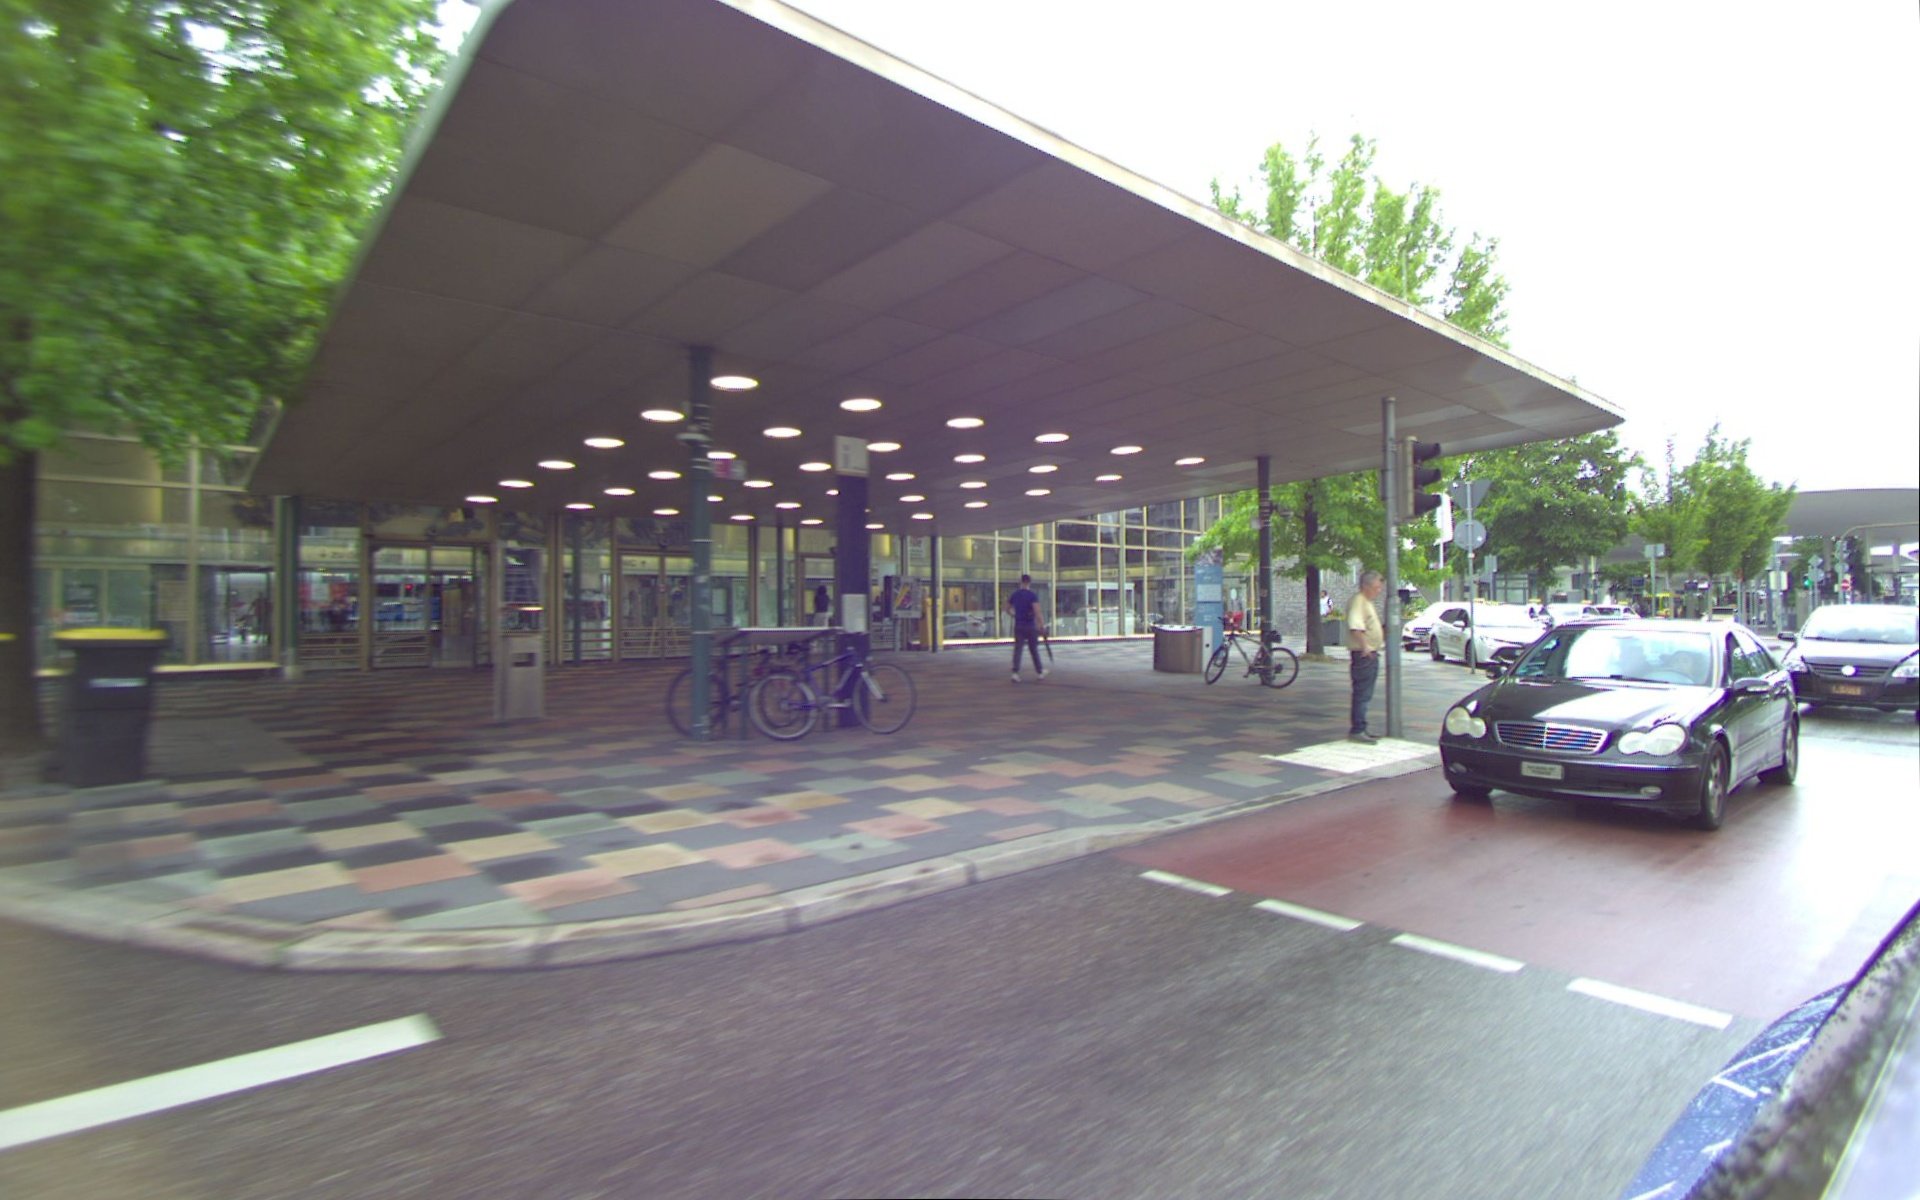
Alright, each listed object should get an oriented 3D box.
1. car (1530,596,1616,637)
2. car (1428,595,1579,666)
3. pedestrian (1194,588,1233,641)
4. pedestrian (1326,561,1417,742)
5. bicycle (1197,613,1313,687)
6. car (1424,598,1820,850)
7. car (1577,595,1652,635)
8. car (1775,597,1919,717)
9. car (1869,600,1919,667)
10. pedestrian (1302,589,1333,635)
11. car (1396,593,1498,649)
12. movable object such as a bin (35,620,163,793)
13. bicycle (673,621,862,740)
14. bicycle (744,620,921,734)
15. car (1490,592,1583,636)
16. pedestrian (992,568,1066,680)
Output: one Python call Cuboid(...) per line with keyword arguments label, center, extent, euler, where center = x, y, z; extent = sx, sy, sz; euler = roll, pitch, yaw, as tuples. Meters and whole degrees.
Cuboid(label="car", center=(24.324, 0.605, 40.104), extent=(4.390, 1.510, 1.817), euler=(0, 0, -43))
Cuboid(label="car", center=(12.756, 0.659, 24.075), extent=(1.790, 1.510, 4.150), euler=(0, 0, 7))
Cuboid(label="pedestrian", center=(7.504, 0.416, 29.968), extent=(0.837, 1.530, 0.762), euler=(0, 0, -40))
Cuboid(label="pedestrian", center=(4.213, 0.496, 10.362), extent=(0.686, 1.773, 0.561), euler=(0, 1, -35))
Cuboid(label="bicycle", center=(4.647, 0.770, 16.014), extent=(1.713, 1.059, 0.517), euler=(1, 1, 41))
Cuboid(label="car", center=(5.406, 0.741, 8.073), extent=(3.762, 1.493, 1.869), euler=(0, 0, -44))
Cuboid(label="car", center=(28.341, 0.615, 43.771), extent=(4.009, 1.610, 1.817), euler=(0, 0, -43))
Cuboid(label="car", center=(13.106, 0.708, 14.352), extent=(3.760, 1.493, 1.870), euler=(0, 0, -42))
Cuboid(label="car", center=(23.145, 0.755, 24.225), extent=(3.605, 1.505, 1.618), euler=(0, 0, -41))
Cuboid(label="pedestrian", center=(13.092, 0.417, 37.051), extent=(0.837, 1.669, 0.762), euler=(0, 0, -40))
Cuboid(label="car", center=(15.044, 0.590, 31.169), extent=(1.813, 1.575, 4.400), euler=(0, 0, 40))
Cuboid(label="movable object such as a bin", center=(-6.054, 0.714, 7.117), extent=(0.687, 1.121, 0.542), euler=(0, 0, 36))
Cuboid(label="bicycle", center=(-1.811, 0.739, 9.588), extent=(1.692, 1.059, 0.524), euler=(0, 0, 9))
Cuboid(label="bicycle", center=(-1.275, 0.740, 10.126), extent=(1.697, 1.059, 0.522), euler=(0, 0, 17))
Cuboid(label="car", center=(20.972, 0.477, 36.764), extent=(4.100, 1.510, 1.817), euler=(0, 0, -43))
Cuboid(label="pedestrian", center=(1.139, 0.371, 16.707), extent=(0.895, 1.780, 0.824), euler=(0, 0, -35))
